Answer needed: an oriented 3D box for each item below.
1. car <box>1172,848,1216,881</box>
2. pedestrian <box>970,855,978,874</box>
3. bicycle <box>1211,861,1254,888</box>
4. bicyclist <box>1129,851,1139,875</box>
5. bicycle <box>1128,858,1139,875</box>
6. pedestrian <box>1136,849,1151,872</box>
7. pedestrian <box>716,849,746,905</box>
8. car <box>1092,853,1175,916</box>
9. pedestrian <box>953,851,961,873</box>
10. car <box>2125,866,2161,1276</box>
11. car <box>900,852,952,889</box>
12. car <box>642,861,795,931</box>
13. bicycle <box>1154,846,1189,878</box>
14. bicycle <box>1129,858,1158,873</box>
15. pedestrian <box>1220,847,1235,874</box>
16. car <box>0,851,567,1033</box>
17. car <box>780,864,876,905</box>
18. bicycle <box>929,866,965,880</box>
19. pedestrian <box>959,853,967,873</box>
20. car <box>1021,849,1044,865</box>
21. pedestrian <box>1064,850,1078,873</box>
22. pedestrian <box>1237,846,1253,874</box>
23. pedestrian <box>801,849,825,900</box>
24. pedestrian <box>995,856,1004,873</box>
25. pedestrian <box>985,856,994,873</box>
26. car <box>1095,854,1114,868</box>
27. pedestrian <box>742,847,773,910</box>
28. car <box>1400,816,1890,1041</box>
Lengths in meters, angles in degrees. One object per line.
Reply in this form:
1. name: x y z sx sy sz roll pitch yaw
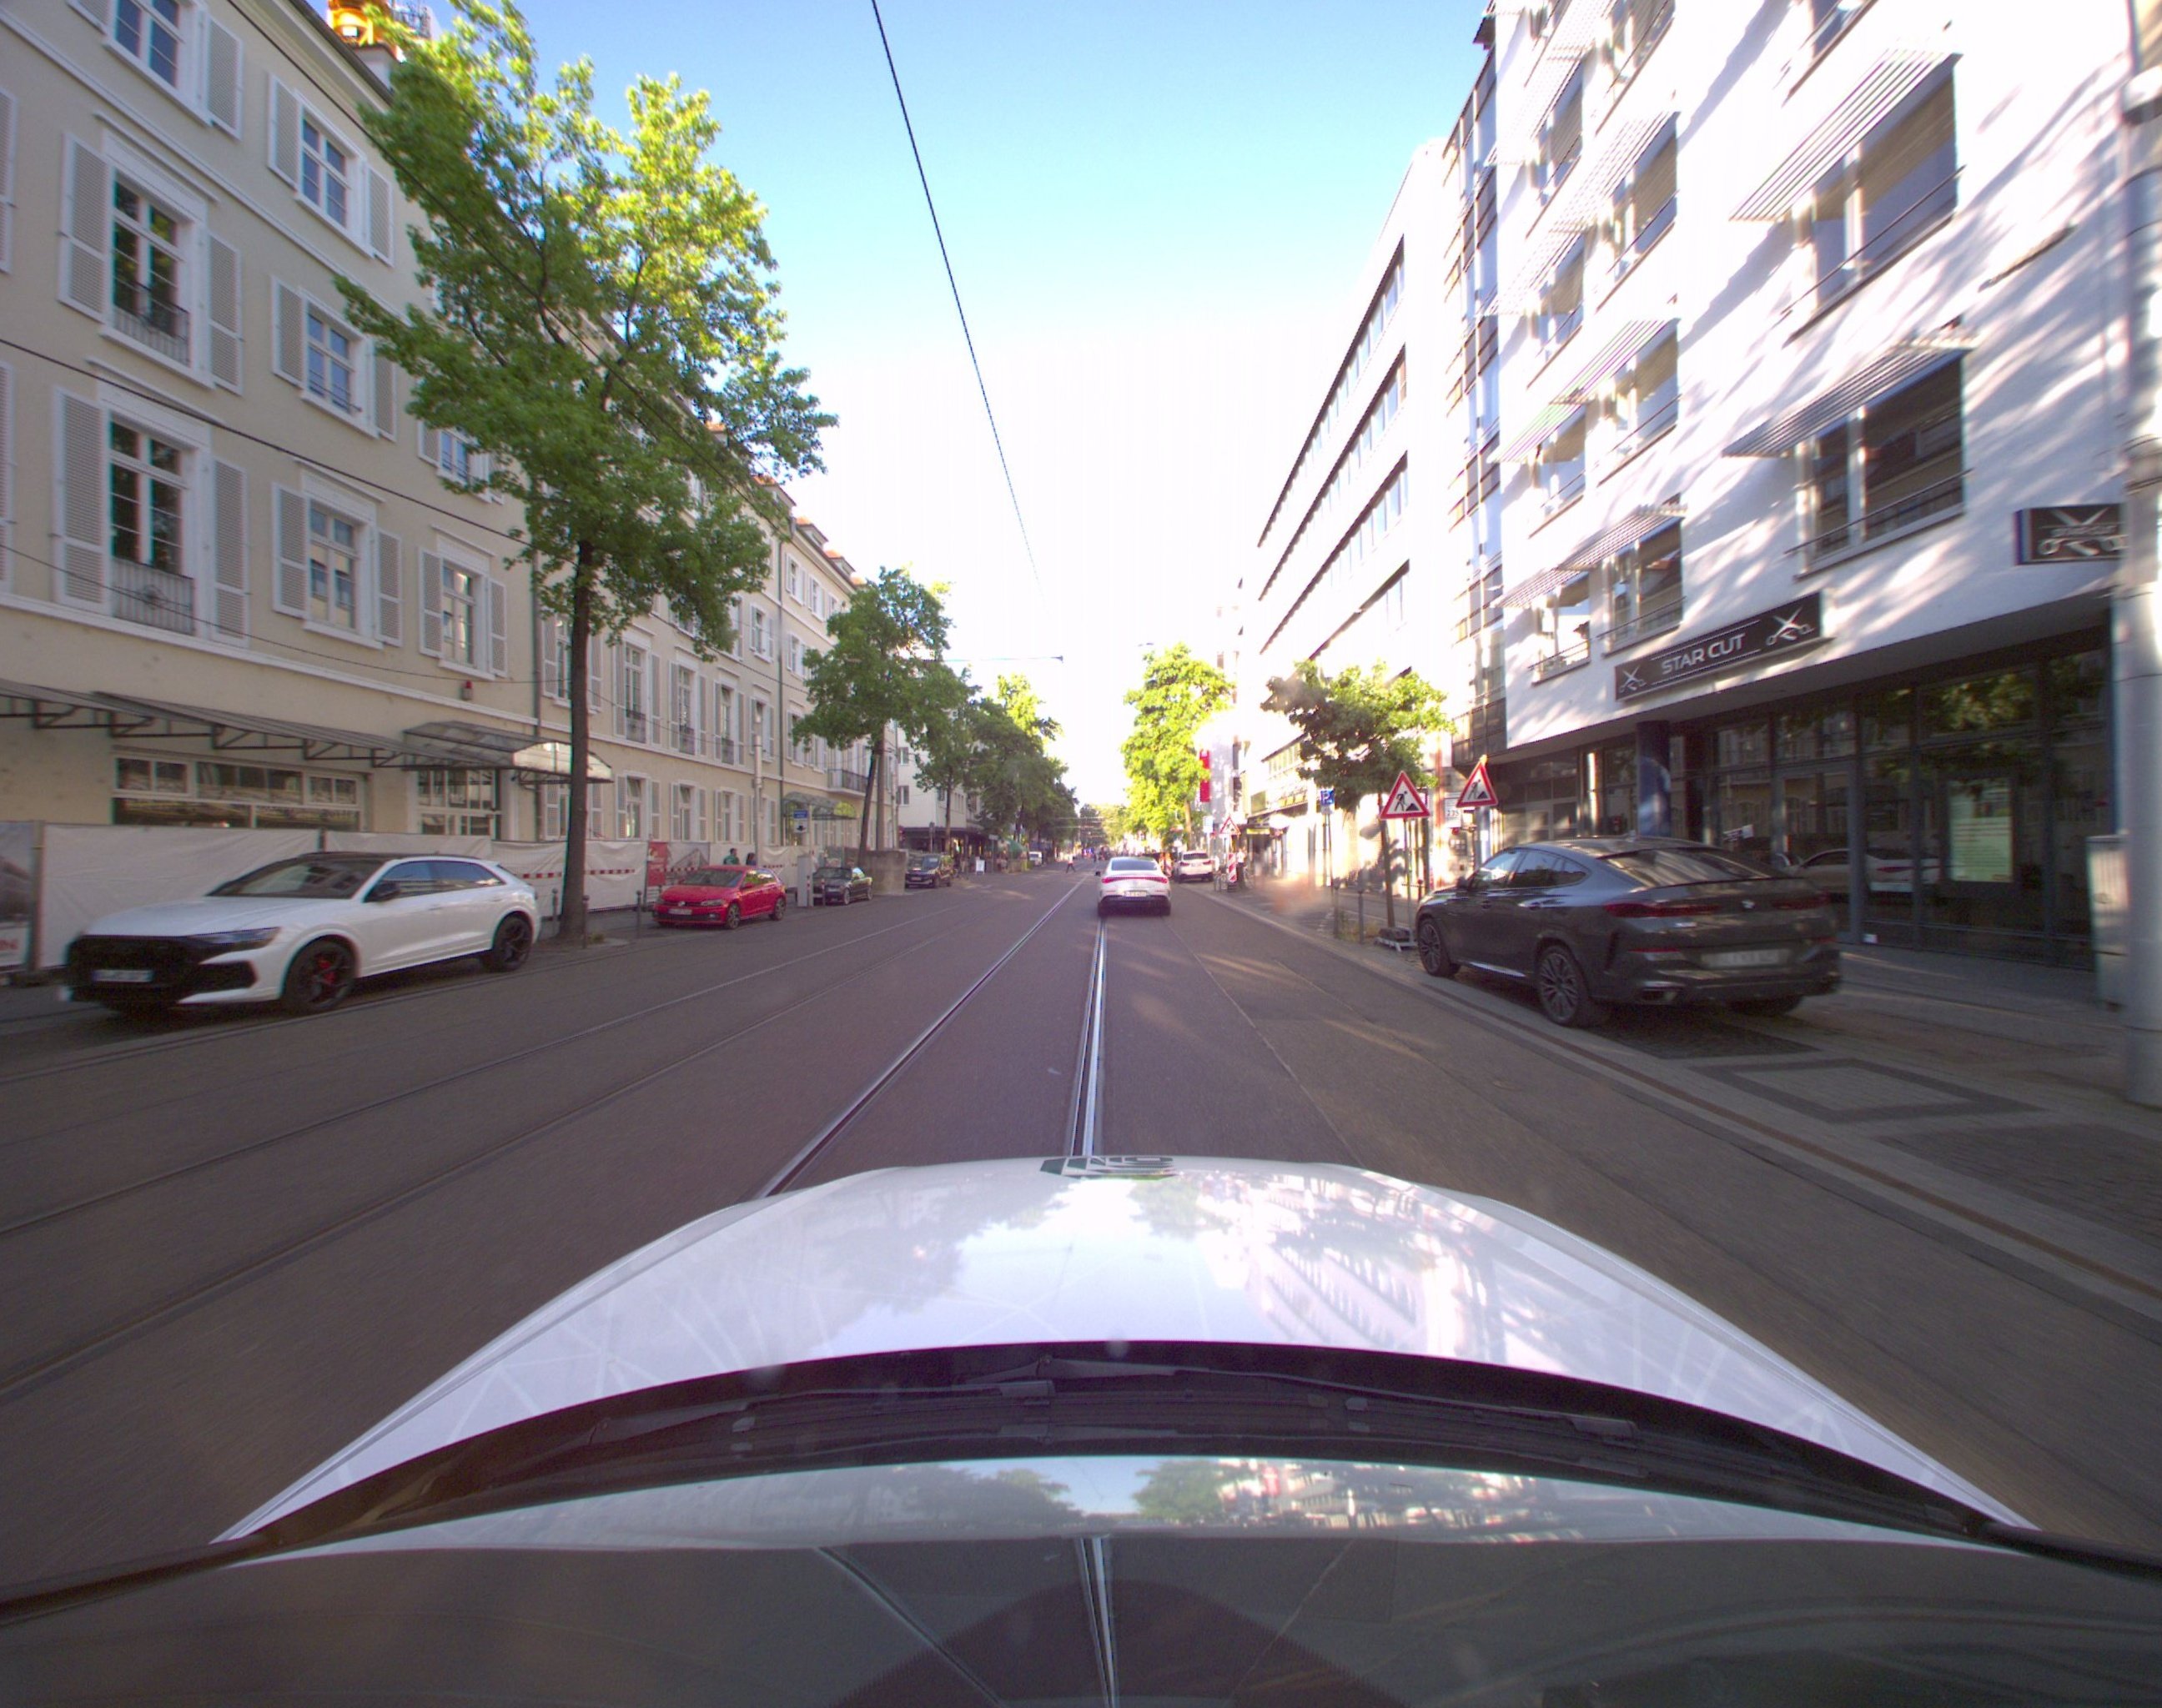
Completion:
1. car: 6.262 0.574 45.543 1.986 1.728 4.243 -1 0 2
2. pedestrian: -9.235 0.879 70.247 0.515 1.615 0.650 -1 0 1
3. bicycle: 6.387 0.856 34.341 1.714 1.062 0.581 -1 0 5
4. bicyclist: 3.827 0.628 58.963 0.722 1.702 0.811 -1 -1 2
5. bicycle: 3.838 0.869 59.129 0.737 1.188 2.162 -1 0 3
6. pedestrian: 4.832 0.508 63.010 0.920 1.774 0.870 -1 0 -13
7. pedestrian: -11.466 0.754 26.687 0.706 1.806 0.675 -1 0 -4
8. car: 1.278 0.729 21.391 1.862 1.469 4.041 -1 0 -1
9. pedestrian: -10.598 0.675 69.549 0.515 1.855 0.650 -1 0 1
10. car: 4.841 0.735 1.021 1.834 1.436 3.993 -2 0 -5
11. car: -7.895 0.834 41.810 1.543 1.796 3.176 -1 0 10
12. car: -8.767 0.949 20.143 1.682 1.499 4.237 0 0 3
13. bicycle: 5.984 0.507 54.222 1.986 2.014 4.001 -1 0 2
14. bicycle: 4.820 0.862 63.011 2.050 1.135 0.870 -1 0 -13
15. pedestrian: 9.609 0.418 53.503 0.799 1.774 0.680 -1 0 -10
16. car: -9.041 0.833 10.102 1.954 1.692 5.017 0 0 3
17. car: -8.790 1.025 28.661 1.986 1.292 4.002 -1 0 2
18. bicycle: -8.563 1.214 52.050 2.232 0.830 0.721 -1 0 24
19. pedestrian: -9.981 0.758 68.753 0.515 1.653 0.650 -1 0 1
20. car: -6.152 0.400 104.032 1.981 2.013 4.011 -1 0 10
21. pedestrian: -0.825 0.605 64.879 0.920 1.774 0.870 -1 0 -13
22. pedestrian: 10.717 0.393 53.234 0.799 1.774 0.680 -1 0 -10
23. pedestrian: -10.737 0.818 32.598 0.705 2.004 0.675 -1 0 -2
24. pedestrian: -7.335 0.918 73.011 0.519 1.478 0.644 -3 -1 -26
25. pedestrian: -8.017 0.934 71.568 0.564 1.464 0.653 -1 0 21
26. car: 5.129 1.533 179.017 4.024 3.114 8.434 -1 0 2
27. pedestrian: -10.575 0.784 26.636 0.705 2.004 0.675 -1 0 -2
28. car: 5.316 0.569 8.738 1.986 1.713 4.868 -1 0 2
